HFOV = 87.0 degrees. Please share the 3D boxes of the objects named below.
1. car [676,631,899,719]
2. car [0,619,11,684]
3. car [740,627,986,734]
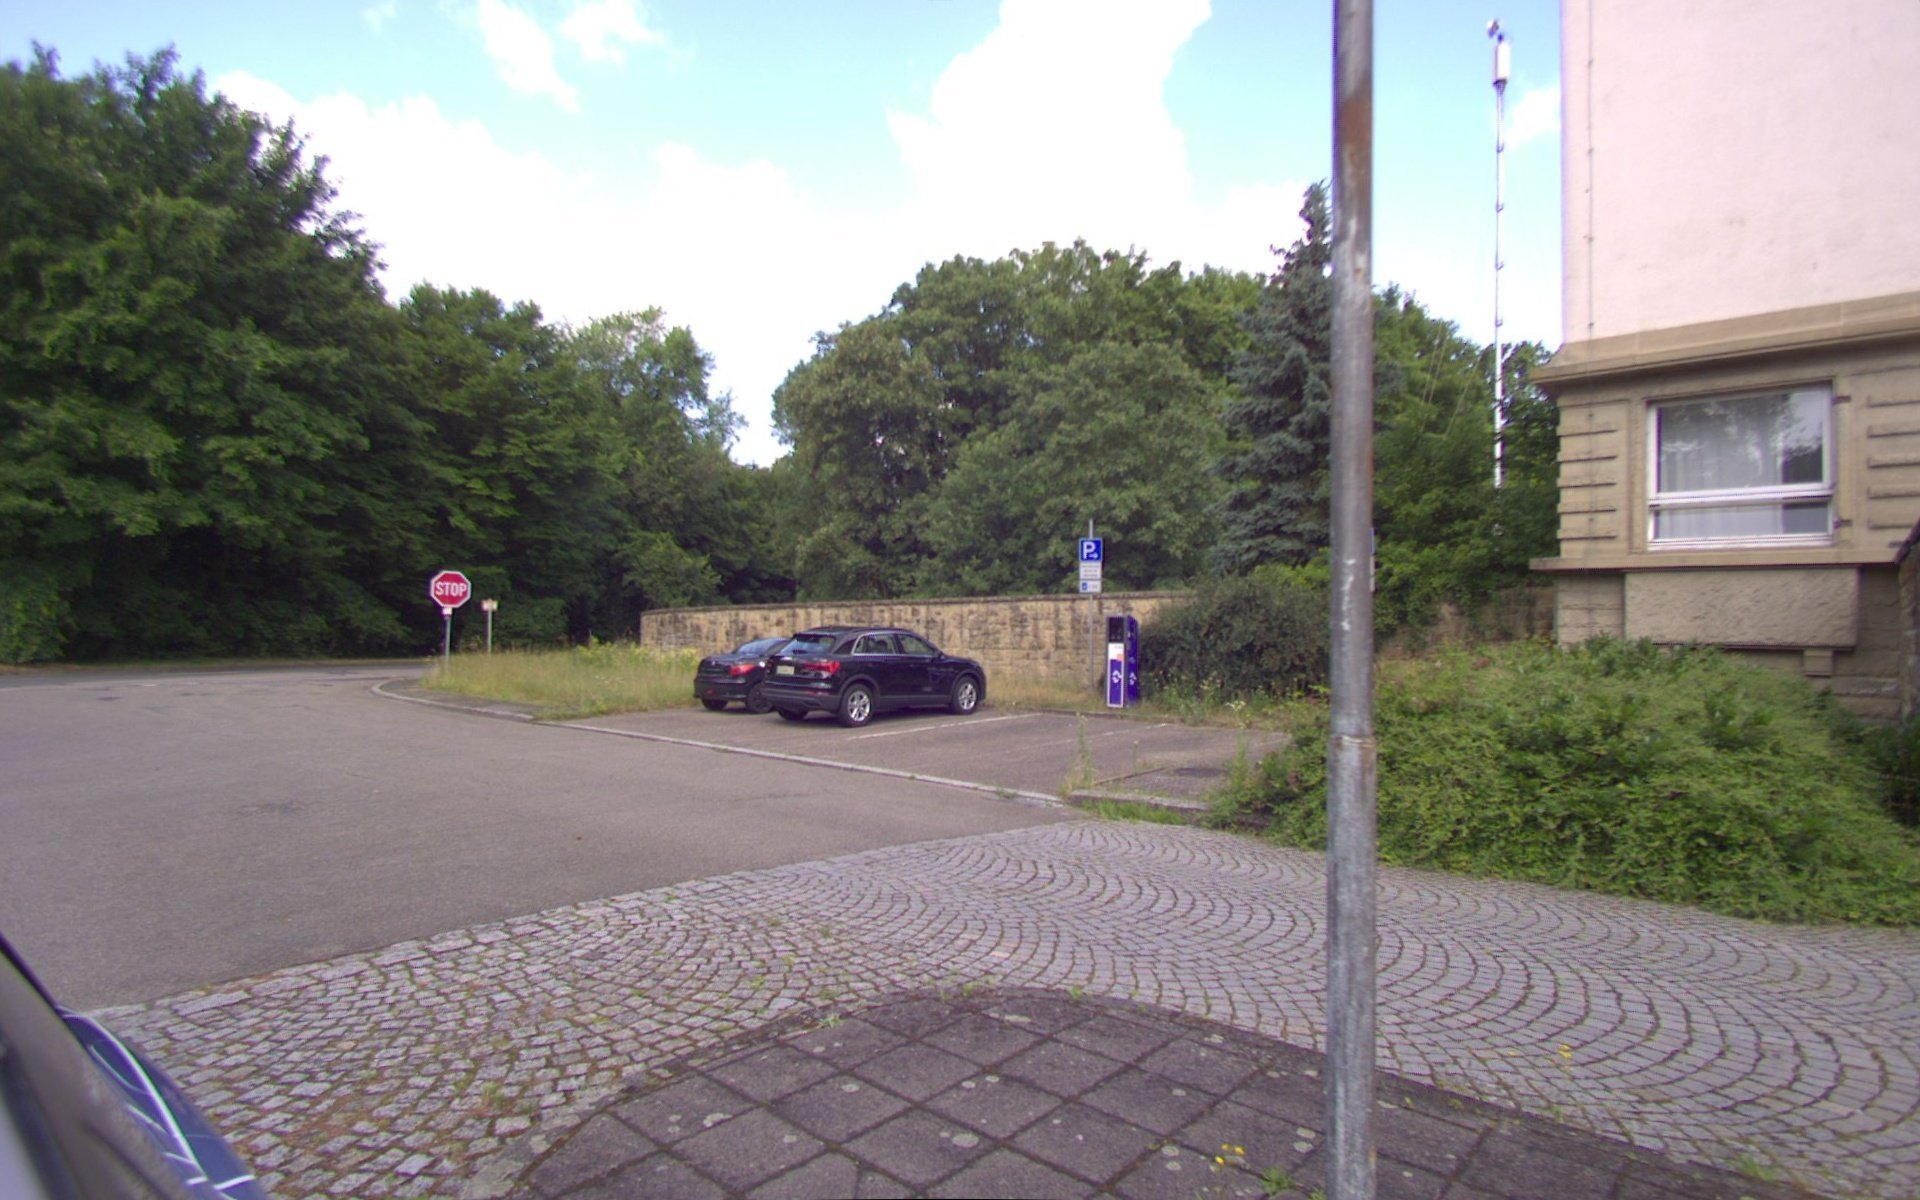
[{"bbox_3d":[-3.278,1.370,19.688,1.880,1.452,3.942,-2,-2,44],"label":"car"},{"bbox_3d":[-23.134,1.119,21.152,1.947,1.475,4.511,-1,-2,12],"label":"car"},{"bbox_3d":[-1.577,1.274,17.419,1.900,1.558,3.943,-2,-2,44],"label":"car"}]
